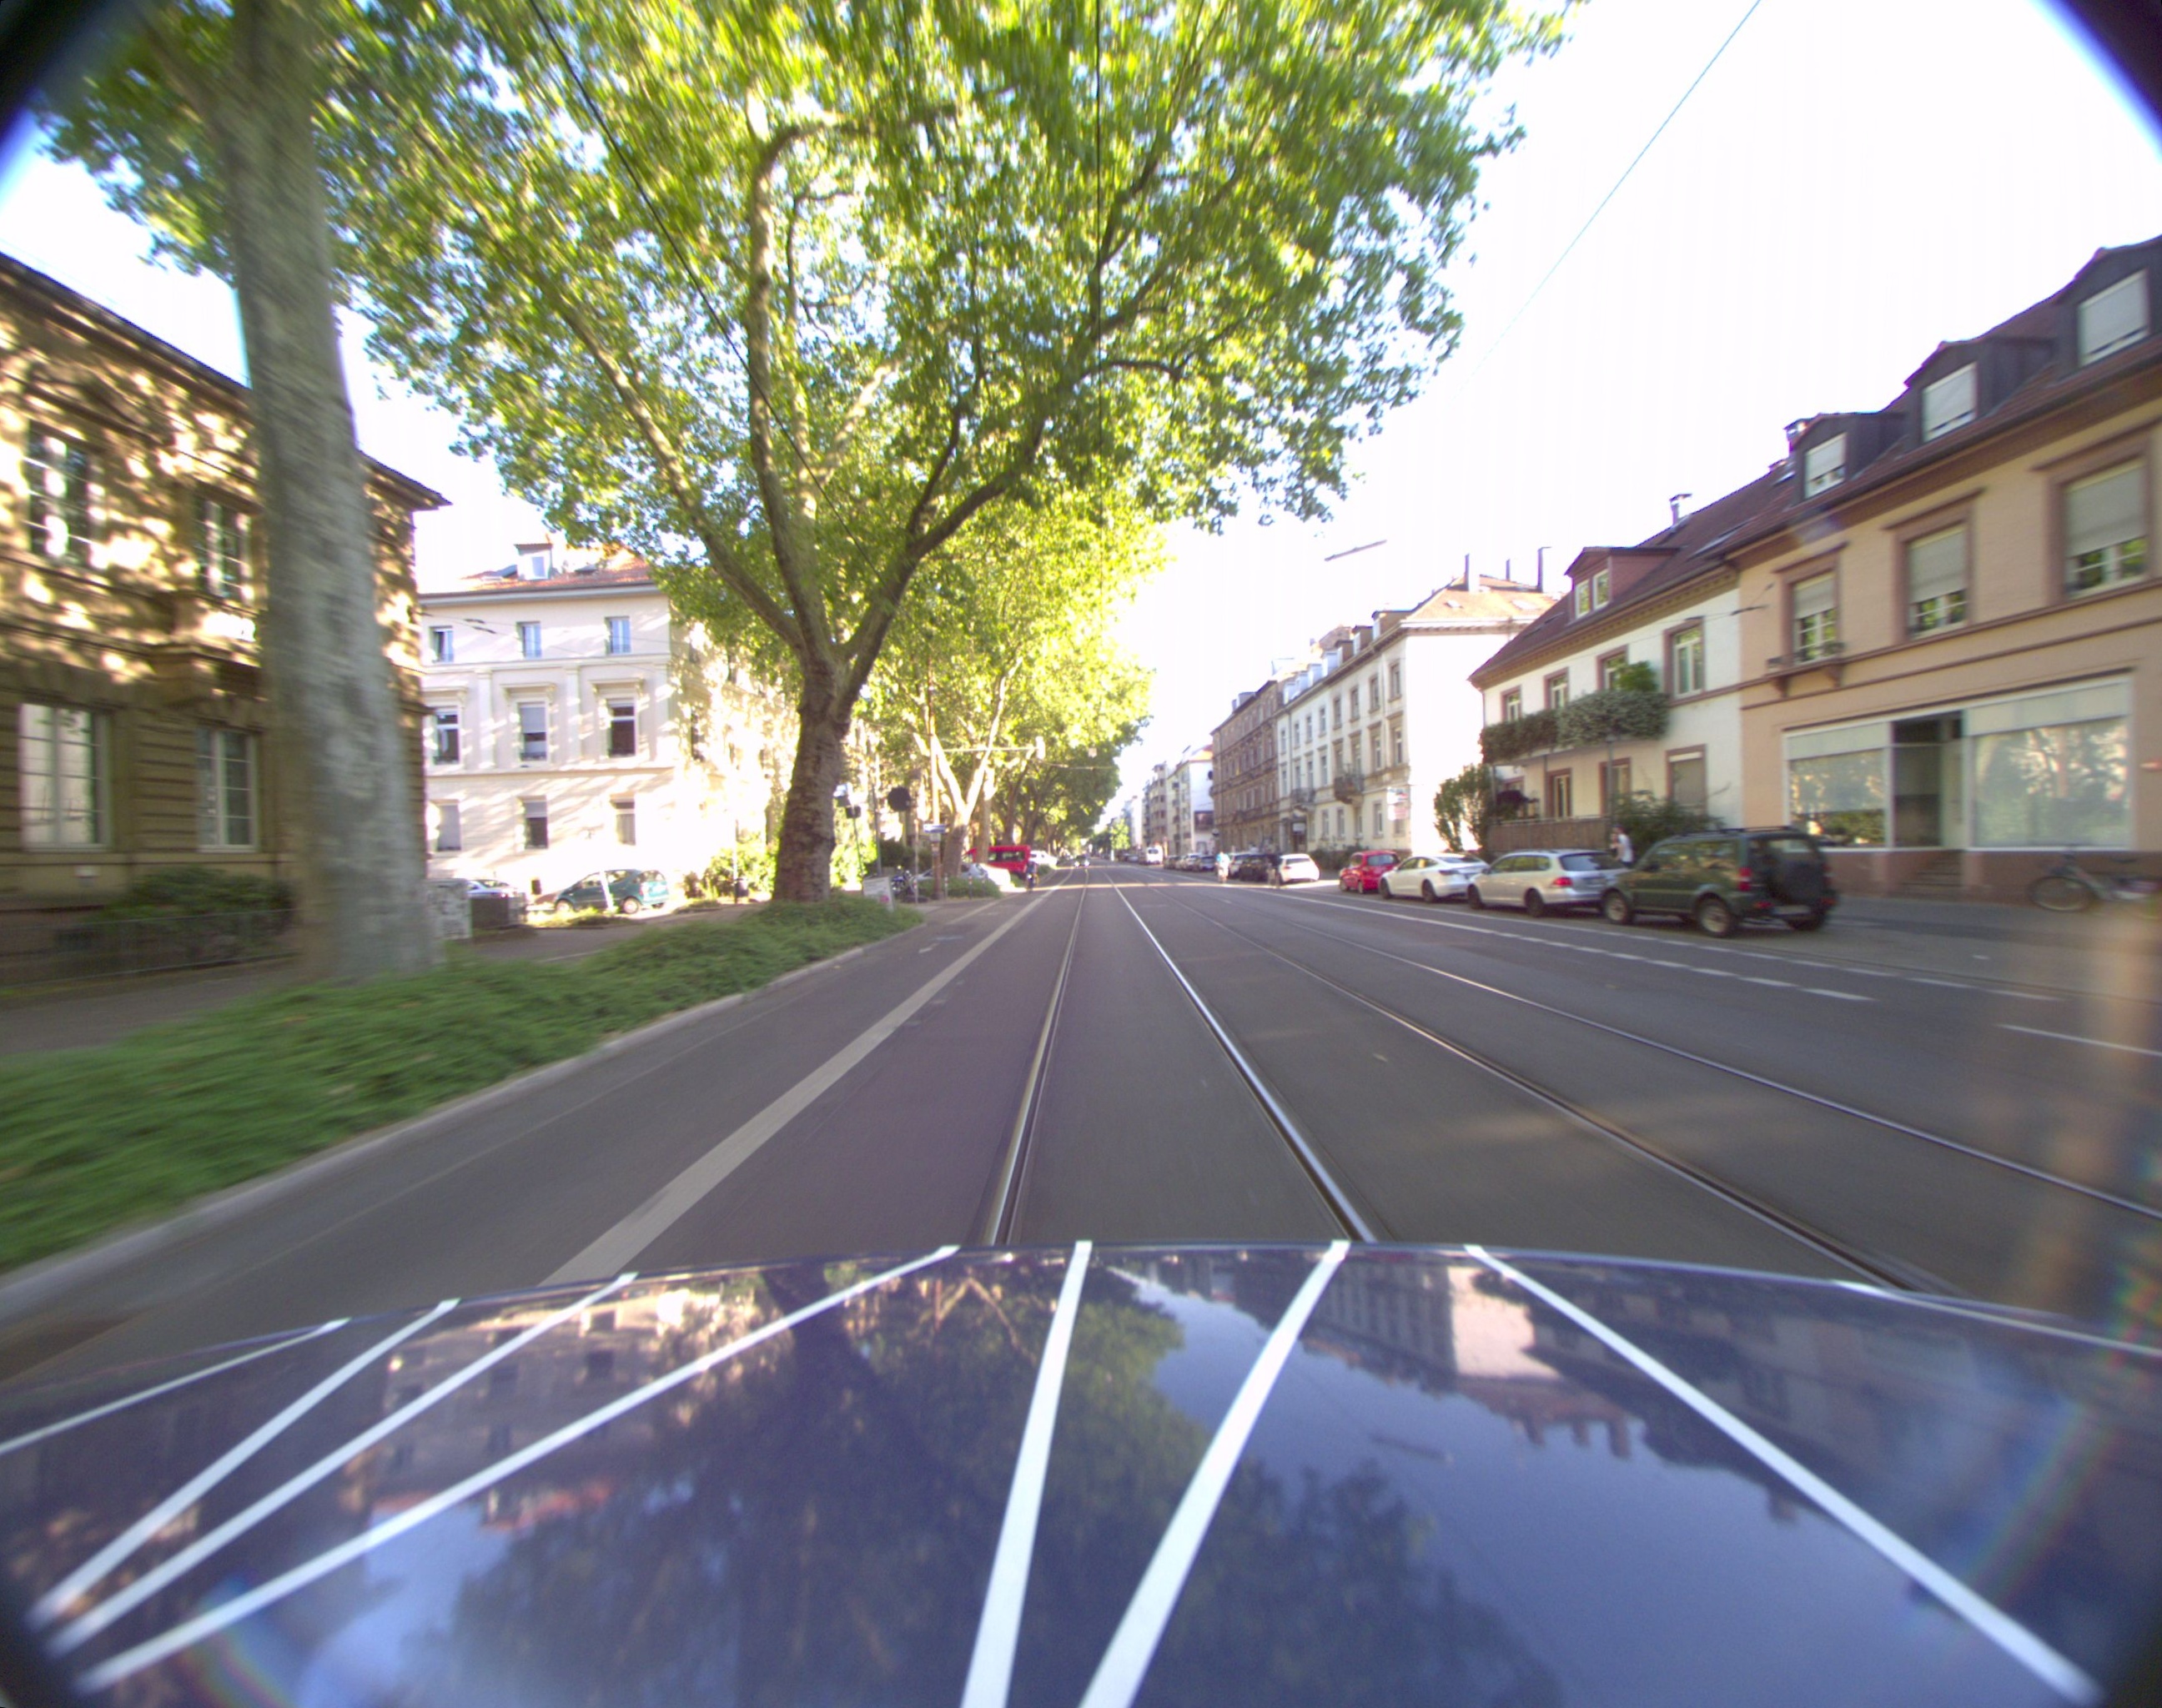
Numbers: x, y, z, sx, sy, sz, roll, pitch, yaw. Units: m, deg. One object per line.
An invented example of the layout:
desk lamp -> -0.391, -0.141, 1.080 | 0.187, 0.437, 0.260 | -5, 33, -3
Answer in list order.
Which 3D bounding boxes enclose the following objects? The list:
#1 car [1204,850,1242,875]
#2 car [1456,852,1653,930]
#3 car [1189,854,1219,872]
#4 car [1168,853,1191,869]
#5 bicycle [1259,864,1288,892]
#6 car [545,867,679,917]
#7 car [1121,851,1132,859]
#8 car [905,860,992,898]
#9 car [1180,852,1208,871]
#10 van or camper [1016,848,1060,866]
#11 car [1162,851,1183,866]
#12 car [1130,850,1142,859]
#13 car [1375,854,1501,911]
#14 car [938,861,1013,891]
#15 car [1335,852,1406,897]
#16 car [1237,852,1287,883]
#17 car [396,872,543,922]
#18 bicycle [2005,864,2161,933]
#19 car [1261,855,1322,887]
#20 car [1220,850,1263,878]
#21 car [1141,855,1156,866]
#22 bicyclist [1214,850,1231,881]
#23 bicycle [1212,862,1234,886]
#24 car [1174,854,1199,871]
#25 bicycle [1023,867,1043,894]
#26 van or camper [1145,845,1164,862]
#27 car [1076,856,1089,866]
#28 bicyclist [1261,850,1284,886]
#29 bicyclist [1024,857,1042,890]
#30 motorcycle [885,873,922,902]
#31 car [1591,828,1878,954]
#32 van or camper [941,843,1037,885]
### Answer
car -> 10.299, 0.615, 55.263 | 1.798, 1.630, 4.575 | -3, 0, 0
car -> 10.620, 0.750, 17.482 | 1.667, 1.446, 4.404 | -4, 0, -1
car -> 10.314, 0.718, 64.130 | 1.798, 1.368, 4.083 | -3, 0, 0
car -> 10.347, 0.742, 80.227 | 1.808, 1.534, 3.918 | -3, 0, -1
bicycle -> 8.318, 1.011, 32.906 | 0.714, 1.131, 2.120 | -1, 0, 1
car -> -16.456, 1.308, 26.798 | 3.571, 1.535, 1.736 | -1, 3, 0
car -> 9.364, 0.136, 157.229 | 1.808, 1.534, 3.918 | -3, 0, -2
car -> -6.026, 1.122, 34.881 | 3.677, 1.535, 1.614 | -1, 3, 0
car -> 10.293, 0.644, 69.432 | 1.798, 1.617, 4.083 | -3, 0, 0
van or camper -> -6.139, 0.373, 109.260 | 6.099, 2.417, 2.428 | -1, 0, 0
car -> 10.287, 0.530, 85.522 | 1.808, 1.534, 3.918 | -3, 0, -1
car -> 10.199, 0.084, 141.297 | 1.808, 1.534, 3.918 | -3, 0, -2
car -> 10.570, 0.775, 22.908 | 1.587, 1.482, 4.470 | -3, 0, -1
car -> -5.517, 1.149, 40.022 | 3.677, 1.410, 1.614 | -1, 3, 0
car -> 10.703, 0.711, 28.318 | 1.422, 1.502, 3.326 | -3, 0, 3
car -> 10.352, 0.752, 43.716 | 1.798, 1.587, 4.083 | -3, 0, 0
car -> -21.694, 1.506, 27.063 | 3.707, 1.535, 1.736 | -1, 3, 0
bicycle -> 15.997, 0.660, 11.894 | 0.505, 0.963, 2.120 | -1, 0, 1
car -> 10.616, 0.797, 38.573 | 1.868, 1.423, 4.083 | -3, 0, 0
car -> 10.296, 0.636, 49.031 | 1.798, 1.630, 4.254 | -3, 0, 0
car -> 9.880, 0.947, 111.137 | 1.808, 1.534, 3.918 | -3, 0, -1
bicyclist -> 7.122, 0.584, 38.307 | 0.714, 1.508, 0.954 | -1, 1, 2
bicycle -> 7.133, 0.997, 38.274 | 0.714, 1.131, 2.120 | -1, 0, 2
car -> 10.440, 0.799, 75.229 | 1.798, 1.473, 4.083 | -3, 0, 0
bicycle -> -2.185, 1.204, 34.944 | 0.714, 1.131, 2.120 | -1, 0, 1
van or camper -> 10.146, -0.081, 105.371 | 1.945, 2.267, 4.597 | -3, 0, -1
car -> 0.189, 0.997, 110.711 | 1.740, 1.365, 3.918 | -3, 0, -1
bicyclist -> 8.302, 0.597, 32.971 | 0.715, 1.508, 0.954 | -1, 1, 1
bicyclist -> -2.189, 0.887, 34.903 | 0.714, 1.435, 0.954 | -1, 1, 2
motorcycle -> -6.718, 1.268, 28.777 | 1.274, 1.048, 0.394 | -2, 1, -37
car -> 10.911, 0.550, 13.079 | 1.729, 1.736, 3.625 | -5, 0, 1
van or camper -> -5.865, 0.615, 49.090 | 5.928, 2.484, 2.219 | -1, 3, -2
